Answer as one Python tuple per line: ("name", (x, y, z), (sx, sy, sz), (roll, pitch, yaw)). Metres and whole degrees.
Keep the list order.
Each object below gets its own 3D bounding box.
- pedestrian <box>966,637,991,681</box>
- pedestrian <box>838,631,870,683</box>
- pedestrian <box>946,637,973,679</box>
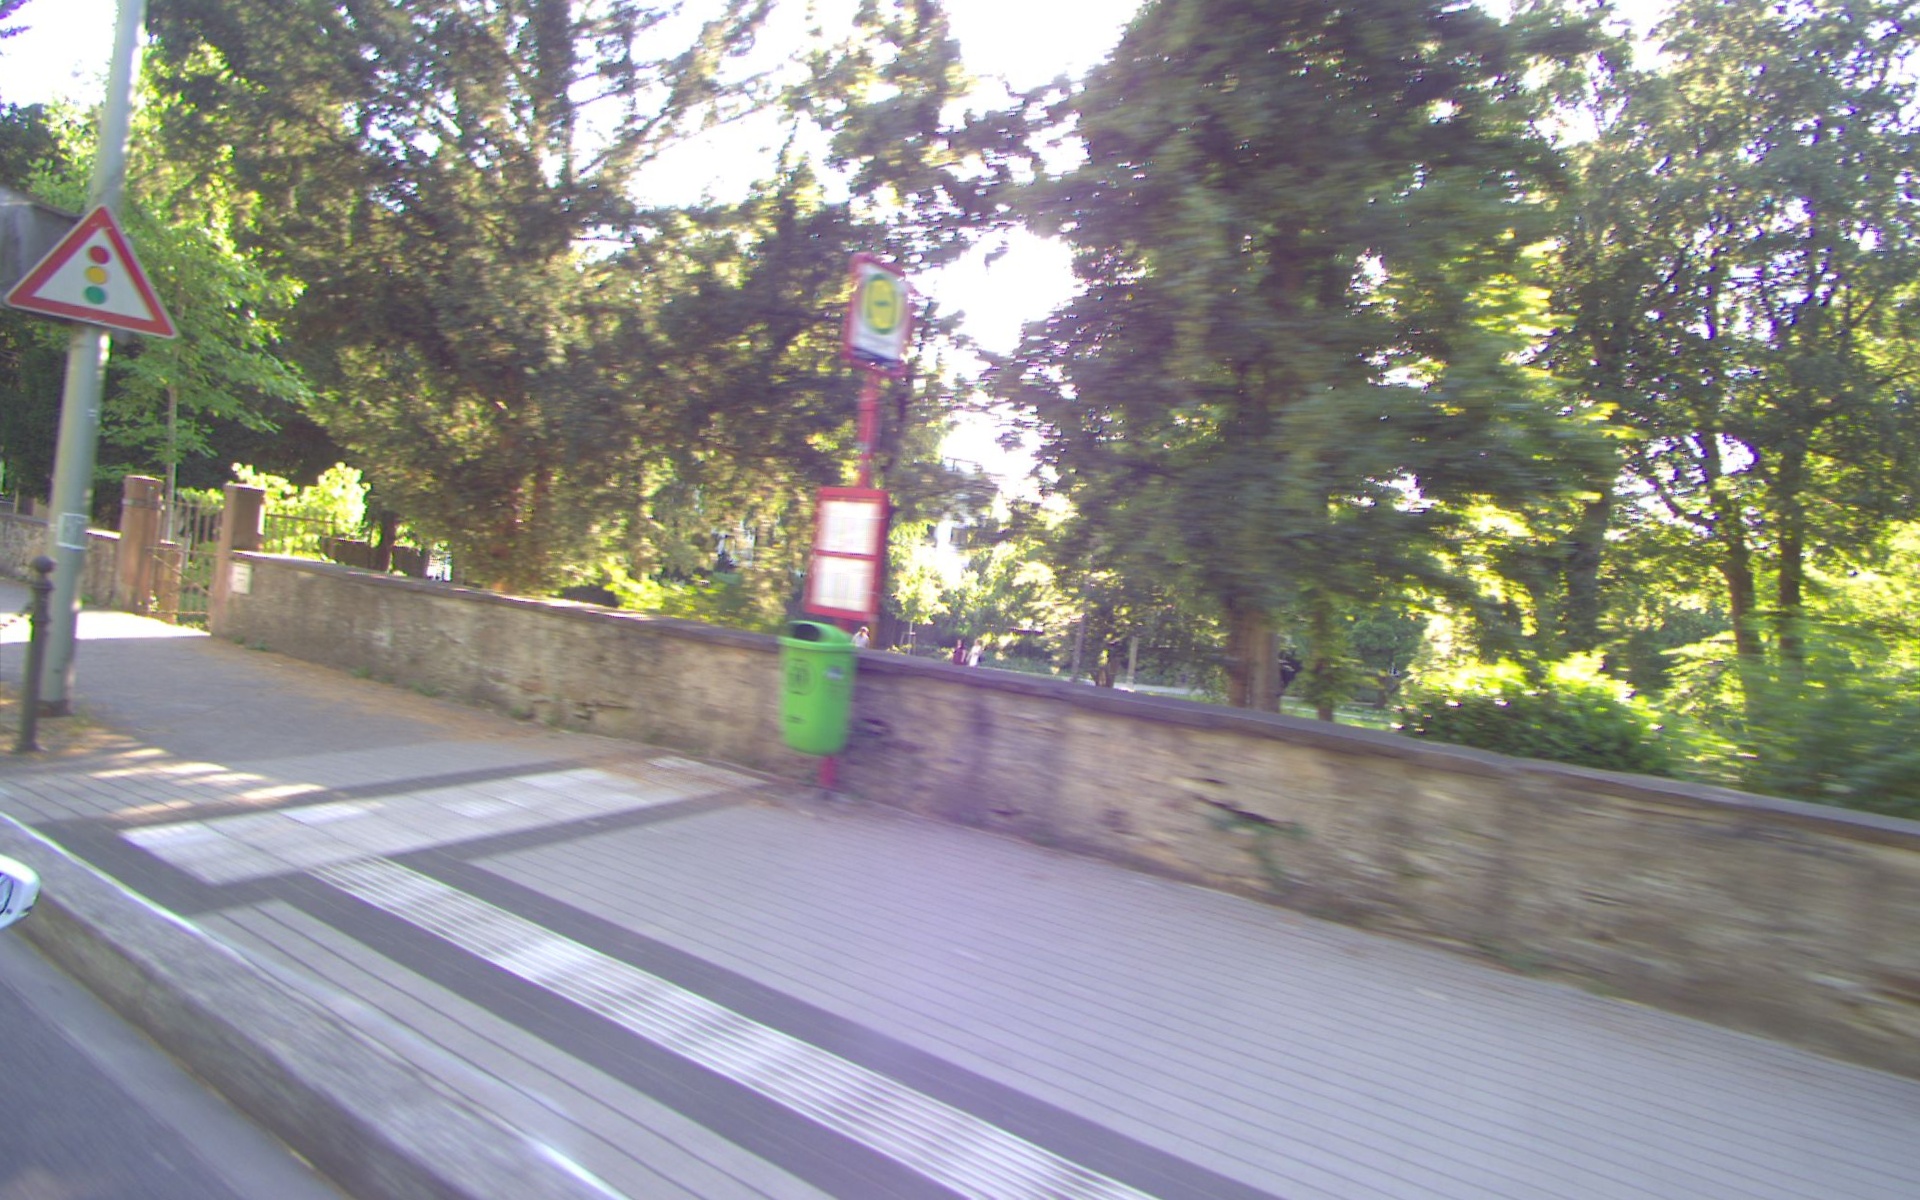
("pedestrian", (0.773, 2.459, 41.913), (0.588, 1.749, 0.591), (7, -2, 31))
("pedestrian", (-3.553, 1.909, 33.781), (0.626, 1.659, 0.615), (7, -2, 33))
("pedestrian", (-0.003, 2.433, 42.258), (0.748, 1.636, 0.565), (7, -2, 33))
